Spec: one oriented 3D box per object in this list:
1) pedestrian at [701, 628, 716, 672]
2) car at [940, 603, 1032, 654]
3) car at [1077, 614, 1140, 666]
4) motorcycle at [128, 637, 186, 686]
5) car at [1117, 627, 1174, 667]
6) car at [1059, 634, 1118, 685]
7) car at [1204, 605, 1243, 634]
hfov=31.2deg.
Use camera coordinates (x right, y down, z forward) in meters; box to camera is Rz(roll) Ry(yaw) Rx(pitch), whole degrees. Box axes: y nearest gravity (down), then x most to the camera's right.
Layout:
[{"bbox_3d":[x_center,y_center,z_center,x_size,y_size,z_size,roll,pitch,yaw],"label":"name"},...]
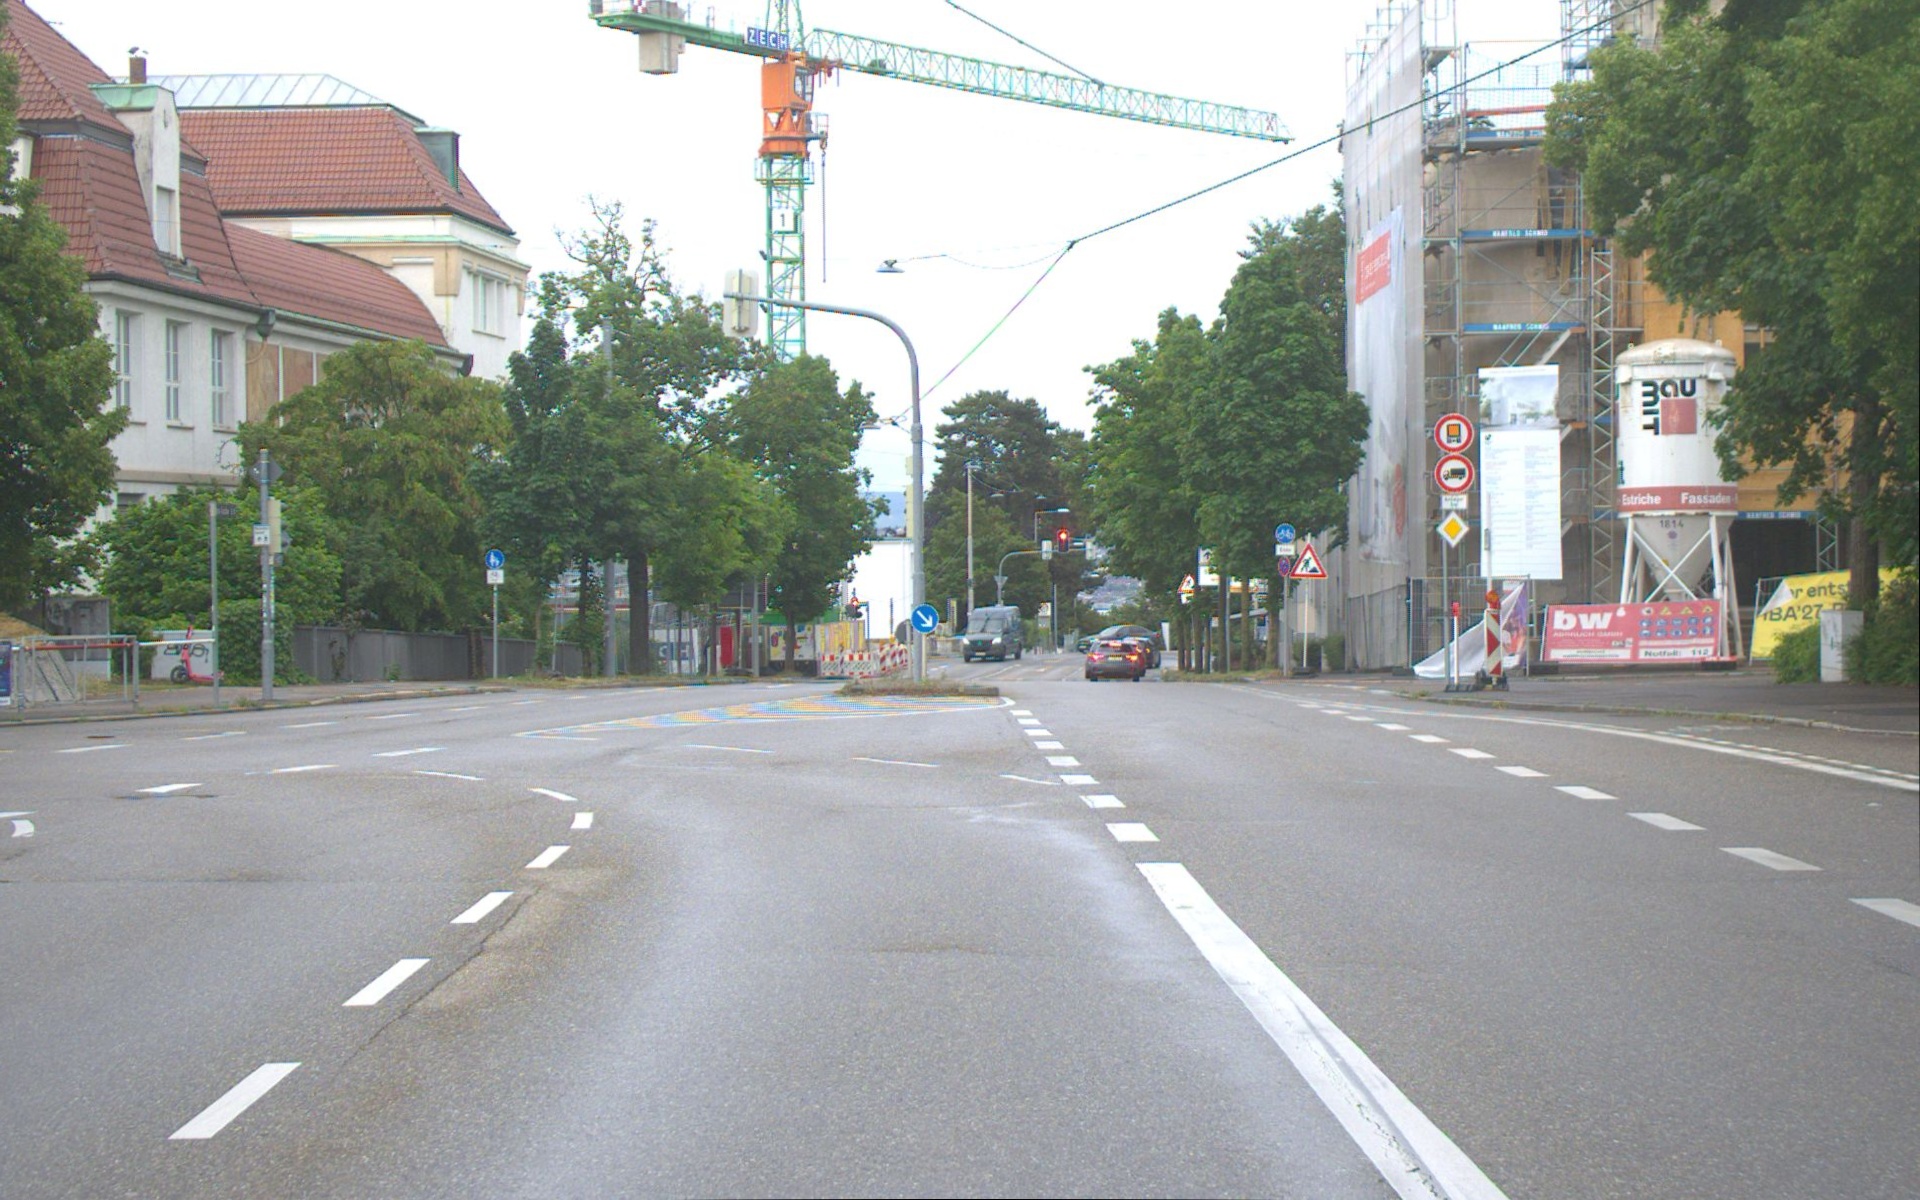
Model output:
[{"bbox_3d":[-9.474,1.895,129.594,0.493,1.640,0.533,1,0,1],"label":"pedestrian"},{"bbox_3d":[1.313,1.367,169.124,2.851,2.394,6.182,1,0,17],"label":"car"},{"bbox_3d":[5.299,1.422,122.965,1.993,1.744,4.000,-1,0,-1],"label":"car"},{"bbox_3d":[-14.652,1.119,62.742,0.849,0.874,0.877,1,0,0],"label":"motorcycle"},{"bbox_3d":[8.738,2.192,161.626,1.994,1.744,3.998,-1,0,13],"label":"car"},{"bbox_3d":[4.800,2.215,128.909,1.993,1.744,4.000,-1,0,-1],"label":"car"},{"bbox_3d":[16.620,1.230,217.007,1.994,1.744,3.998,-1,0,11],"label":"car"}]
